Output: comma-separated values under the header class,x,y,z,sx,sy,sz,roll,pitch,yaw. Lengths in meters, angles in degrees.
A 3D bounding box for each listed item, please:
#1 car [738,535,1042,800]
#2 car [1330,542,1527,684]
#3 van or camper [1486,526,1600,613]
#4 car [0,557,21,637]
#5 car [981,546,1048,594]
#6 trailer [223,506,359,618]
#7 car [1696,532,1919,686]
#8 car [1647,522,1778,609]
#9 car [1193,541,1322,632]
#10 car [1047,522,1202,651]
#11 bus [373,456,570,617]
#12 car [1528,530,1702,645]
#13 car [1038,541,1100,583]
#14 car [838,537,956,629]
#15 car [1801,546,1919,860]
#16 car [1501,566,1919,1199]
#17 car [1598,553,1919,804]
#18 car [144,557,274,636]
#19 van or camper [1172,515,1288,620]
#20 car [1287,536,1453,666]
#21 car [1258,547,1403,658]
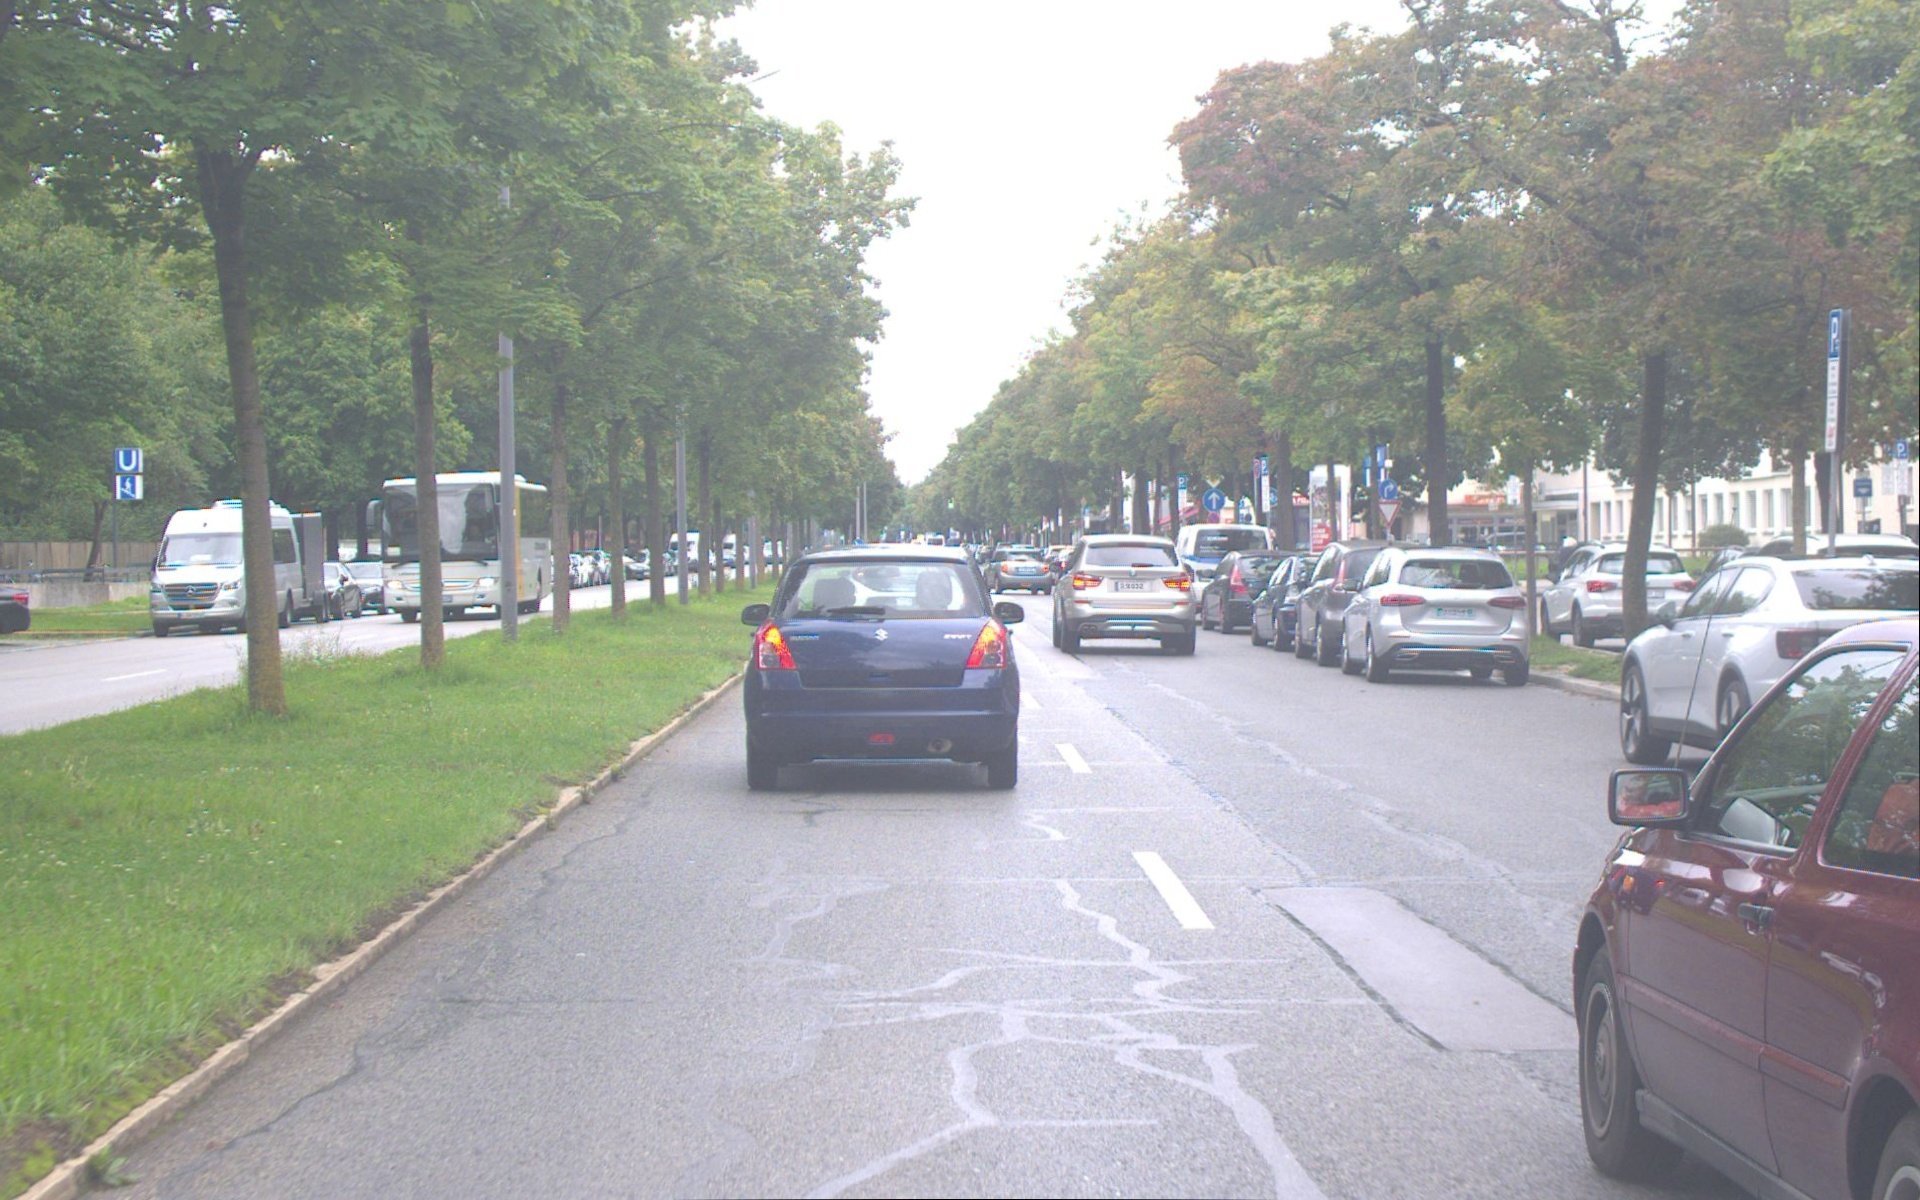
class,x,y,z,sx,sy,sz,roll,pitch,yaw
car,-0.490,0.363,22.344,1.789,1.550,4.001,0,1,-2
car,5.405,0.106,40.124,1.684,1.520,4.456,1,1,0
van or camper,13.544,-0.732,80.059,1.944,1.968,4.306,0,1,0
car,-19.535,-0.055,63.137,4.094,1.469,1.705,0,1,-34
car,1.654,-0.944,106.157,1.850,1.442,4.098,0,1,-2
trailer,-15.744,-0.922,81.217,2.106,2.531,5.577,-1,1,0
car,9.739,0.054,39.008,1.684,1.627,4.780,0,1,-1
car,14.195,-0.666,65.043,1.684,1.580,4.028,0,1,1
car,5.252,-0.274,61.113,1.684,1.548,4.307,0,1,-3
car,2.294,-0.219,48.931,1.850,1.737,4.098,0,1,-2
bus,-11.236,-1.485,80.268,2.738,3.366,12.013,-2,1,0
car,9.371,-0.212,49.457,1.684,1.580,4.028,0,1,-1
car,3.769,-1.335,119.688,1.850,1.442,4.098,0,1,-2
car,-1.078,-0.310,56.658,1.850,1.442,4.098,0,1,-2
car,5.616,0.510,16.993,1.764,1.541,4.424,0,1,-1
car,2.244,0.673,6.871,1.622,1.449,3.950,0,1,-1
car,5.576,0.448,22.677,1.706,1.449,4.512,2,1,-2
car,-15.602,-0.096,71.600,1.913,1.537,4.188,-1,1,-2
van or camper,5.254,-0.655,67.425,1.944,1.968,4.306,0,1,0
car,5.390,-0.023,45.632,1.684,1.620,4.306,1,1,0
car,5.399,0.000,50.517,1.684,1.548,4.306,0,1,0
